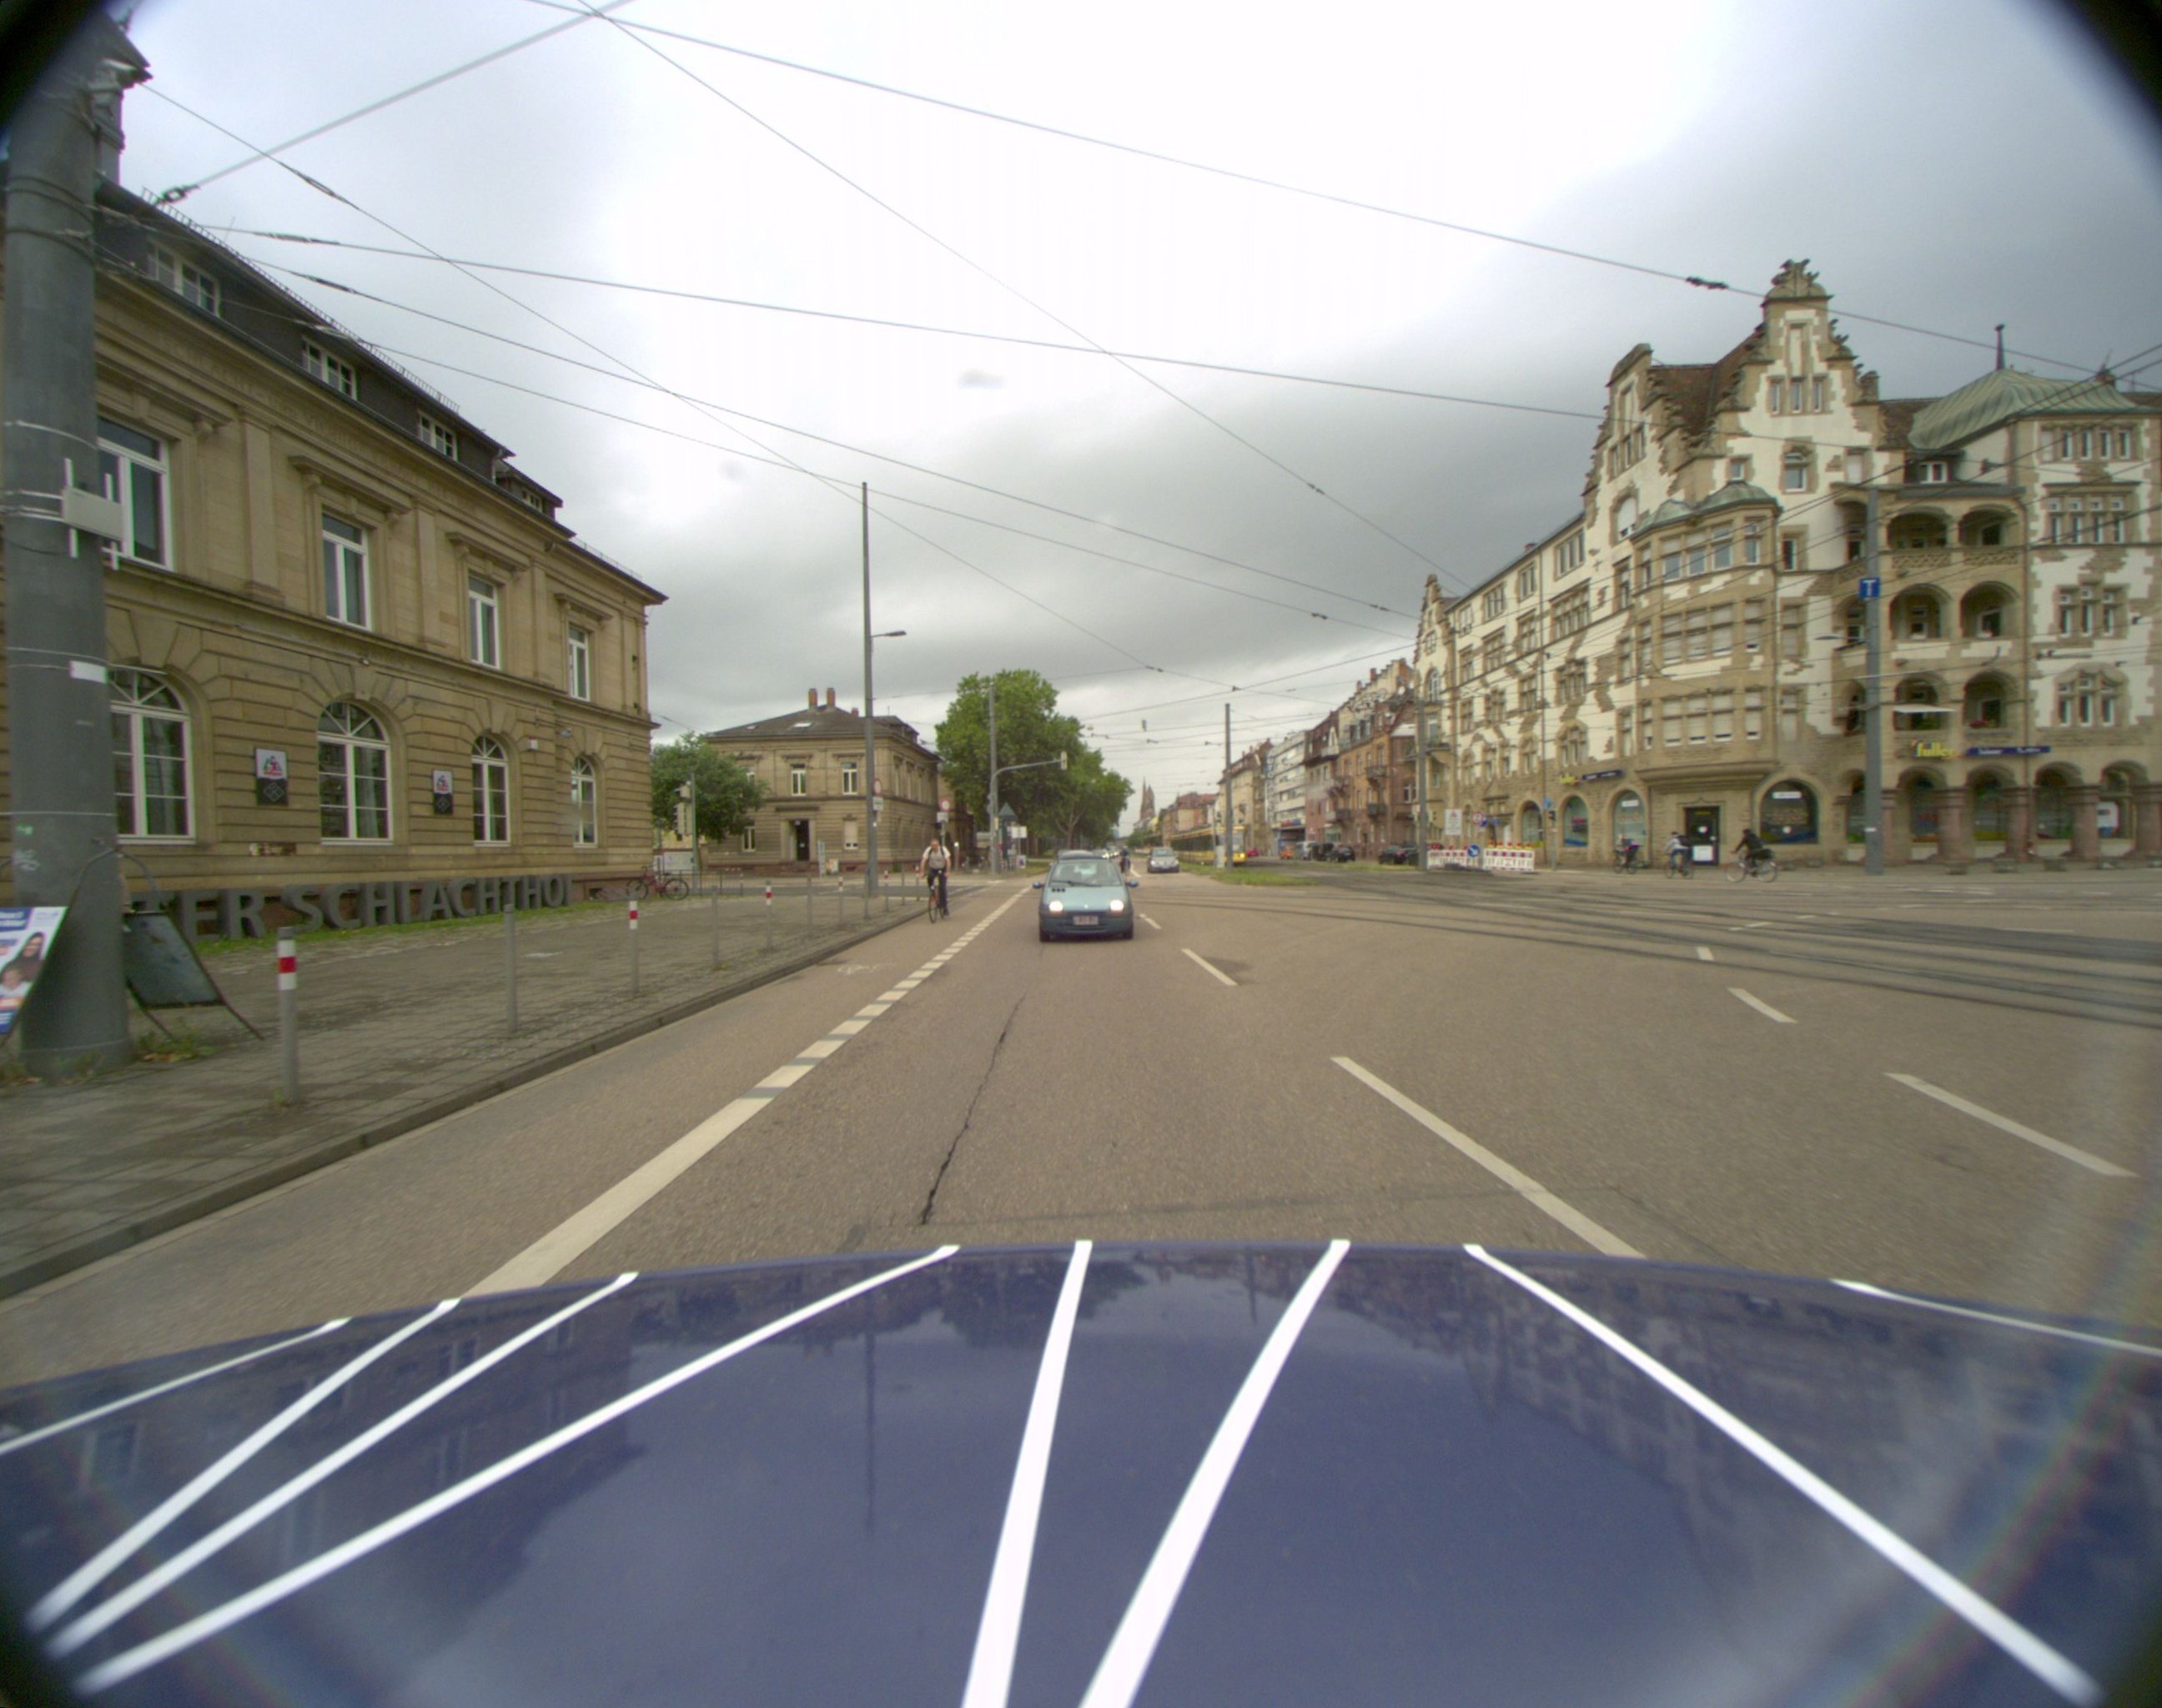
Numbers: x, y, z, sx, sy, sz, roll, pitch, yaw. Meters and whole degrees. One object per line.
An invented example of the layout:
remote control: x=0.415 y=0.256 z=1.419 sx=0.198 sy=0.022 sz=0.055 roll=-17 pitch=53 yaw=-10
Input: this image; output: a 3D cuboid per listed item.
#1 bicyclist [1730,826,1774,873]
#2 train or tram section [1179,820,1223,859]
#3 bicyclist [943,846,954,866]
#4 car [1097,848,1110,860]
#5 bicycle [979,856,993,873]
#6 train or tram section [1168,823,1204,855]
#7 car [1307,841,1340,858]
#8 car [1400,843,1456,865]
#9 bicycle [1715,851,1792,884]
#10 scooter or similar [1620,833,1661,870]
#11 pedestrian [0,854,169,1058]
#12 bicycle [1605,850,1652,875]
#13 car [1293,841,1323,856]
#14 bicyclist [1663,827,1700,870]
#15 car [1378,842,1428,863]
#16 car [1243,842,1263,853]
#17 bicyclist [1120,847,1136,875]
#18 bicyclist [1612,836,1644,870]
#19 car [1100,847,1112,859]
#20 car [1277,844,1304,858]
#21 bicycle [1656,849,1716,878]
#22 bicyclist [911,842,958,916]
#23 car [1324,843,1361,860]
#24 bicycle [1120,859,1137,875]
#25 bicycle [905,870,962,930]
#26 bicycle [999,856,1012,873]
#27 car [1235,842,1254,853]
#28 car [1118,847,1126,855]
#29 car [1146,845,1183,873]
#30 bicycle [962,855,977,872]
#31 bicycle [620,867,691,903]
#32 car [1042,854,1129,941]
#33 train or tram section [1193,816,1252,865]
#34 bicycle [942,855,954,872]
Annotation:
bicyclist: x=22.035 y=-0.131 z=24.958 sx=0.751 sy=1.511 sz=0.765 roll=-1 pitch=0 yaw=-3
train or tram section: x=11.568 y=-1.430 z=74.556 sx=2.651 sy=3.418 sz=13.617 roll=-1 pitch=1 yaw=2
bicyclist: x=-9.406 y=0.148 z=53.896 sx=0.695 sy=1.392 sz=0.815 roll=-1 pitch=2 yaw=-10
car: x=2.754 y=-0.015 z=93.111 sx=1.546 sy=1.336 sz=3.796 roll=-1 pitch=1 yaw=1
bicycle: x=-6.394 y=0.717 z=51.124 sx=0.718 sy=1.062 sz=1.699 roll=-1 pitch=1 yaw=0
train or tram section: x=12.006 y=-1.780 z=88.173 sx=2.651 sy=3.418 sz=13.617 roll=-1 pitch=1 yaw=2
car: x=24.230 y=-0.489 z=75.966 sx=1.999 sy=1.587 sz=3.998 roll=-1 pitch=1 yaw=-1
car: x=23.823 y=-0.043 z=52.352 sx=1.999 sy=1.434 sz=3.998 roll=-1 pitch=1 yaw=-1
bicycle: x=22.050 y=0.439 z=24.963 sx=0.751 sy=1.030 sz=1.915 roll=-1 pitch=-1 yaw=-3
scooter or similar: x=26.397 y=-0.152 z=35.879 sx=0.565 sy=1.706 sz=1.830 roll=-1 pitch=2 yaw=0
pedestrian: x=-9.202 y=0.851 z=6.834 sx=0.720 sy=1.669 sz=1.000 roll=-1 pitch=2 yaw=12
bicycle: x=23.700 y=0.356 z=32.948 sx=0.708 sy=1.031 sz=2.023 roll=-1 pitch=0 yaw=5
car: x=24.634 y=-0.643 z=82.520 sx=1.999 sy=1.587 sz=3.998 roll=-1 pitch=1 yaw=-1
bicyclist: x=22.997 y=-0.196 z=29.109 sx=0.724 sy=1.596 sz=0.859 roll=-1 pitch=0 yaw=-1
car: x=24.013 y=-0.115 z=56.889 sx=1.999 sy=1.434 sz=3.998 roll=-1 pitch=1 yaw=-1
car: x=25.800 y=-0.929 z=114.112 sx=1.999 sy=1.587 sz=3.998 roll=-1 pitch=1 yaw=-1
bicyclist: x=2.705 y=0.420 z=43.802 sx=0.812 sy=1.587 sz=0.890 roll=-1 pitch=0 yaw=0
bicyclist: x=23.691 y=-0.027 z=32.925 sx=0.708 sy=1.436 sz=0.973 roll=-1 pitch=0 yaw=5
car: x=3.346 y=-0.146 z=101.277 sx=1.534 sy=1.464 sz=3.353 roll=0 pitch=1 yaw=3
car: x=24.617 y=-0.357 z=89.363 sx=1.999 sy=1.587 sz=3.998 roll=-1 pitch=1 yaw=-1
bicycle: x=23.010 y=0.363 z=28.962 sx=0.724 sy=1.031 sz=1.909 roll=-1 pitch=0 yaw=-1
bicyclist: x=-3.290 y=0.536 z=17.169 sx=0.812 sy=1.591 sz=1.189 roll=-1 pitch=2 yaw=0
car: x=24.044 y=-0.276 z=69.978 sx=1.999 sy=1.434 sz=3.998 roll=-1 pitch=1 yaw=-1
bicycle: x=2.720 y=0.756 z=43.771 sx=0.812 sy=0.939 sz=2.147 roll=-1 pitch=-1 yaw=0
bicycle: x=-3.288 y=0.994 z=17.210 sx=0.814 sy=1.163 sz=2.276 roll=-1 pitch=1 yaw=0
bicycle: x=-5.075 y=0.710 z=51.091 sx=0.718 sy=1.062 sz=1.699 roll=-1 pitch=1 yaw=0
car: x=25.866 y=-1.069 z=120.299 sx=1.999 sy=1.587 sz=3.998 roll=-1 pitch=1 yaw=-1
car: x=10.907 y=-0.766 z=201.475 sx=1.998 sy=2.002 sz=3.999 roll=-1 pitch=1 yaw=0
car: x=5.160 y=0.276 z=47.344 sx=1.869 sy=1.631 sz=3.774 roll=-1 pitch=1 yaw=0
bicycle: x=-7.495 y=0.627 z=51.124 sx=0.718 sy=1.062 sz=1.699 roll=-1 pitch=1 yaw=0
bicycle: x=-13.231 y=0.961 z=23.673 sx=1.859 sy=1.072 sz=0.546 roll=1 pitch=1 yaw=-17
car: x=0.178 y=0.764 z=15.031 sx=1.534 sy=1.464 sz=3.353 roll=0 pitch=1 yaw=3
train or tram section: x=11.091 y=-1.099 z=60.981 sx=2.651 sy=3.418 sz=13.617 roll=-1 pitch=1 yaw=2
bicycle: x=-9.419 y=0.650 z=53.798 sx=0.677 sy=1.158 sz=2.112 roll=-1 pitch=1 yaw=-7
